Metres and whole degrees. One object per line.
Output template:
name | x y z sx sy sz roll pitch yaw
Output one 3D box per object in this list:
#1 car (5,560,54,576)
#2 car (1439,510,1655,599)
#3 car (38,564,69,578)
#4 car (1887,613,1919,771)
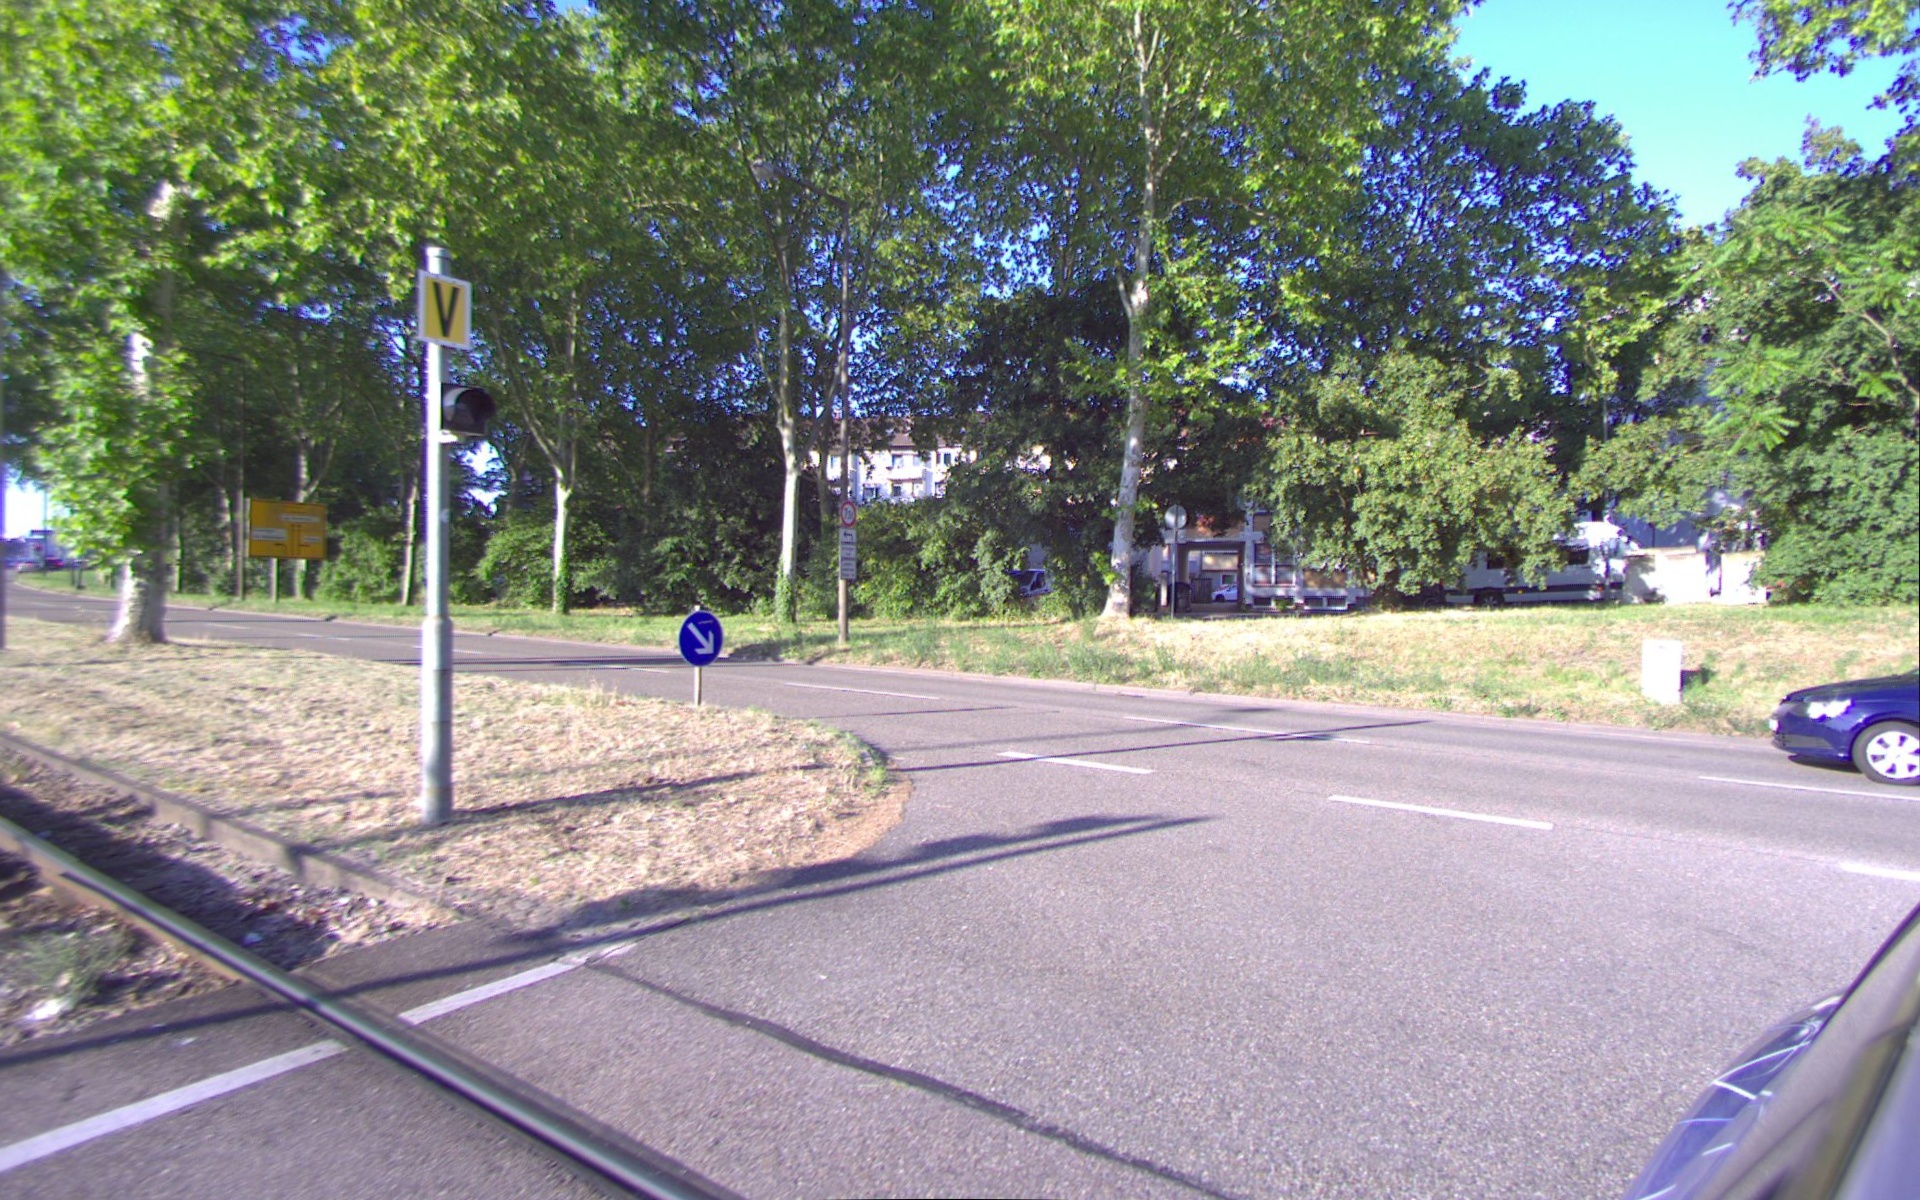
car | -90.811 -3.104 98.836 1.958 1.460 4.009 1 0 -17
car | 18.111 -1.353 31.417 5.601 2.545 1.781 1 0 40
car | -96.524 -3.067 107.807 1.961 1.458 4.001 1 0 -34
car | 10.902 0.899 8.806 3.959 1.460 1.609 1 0 35
